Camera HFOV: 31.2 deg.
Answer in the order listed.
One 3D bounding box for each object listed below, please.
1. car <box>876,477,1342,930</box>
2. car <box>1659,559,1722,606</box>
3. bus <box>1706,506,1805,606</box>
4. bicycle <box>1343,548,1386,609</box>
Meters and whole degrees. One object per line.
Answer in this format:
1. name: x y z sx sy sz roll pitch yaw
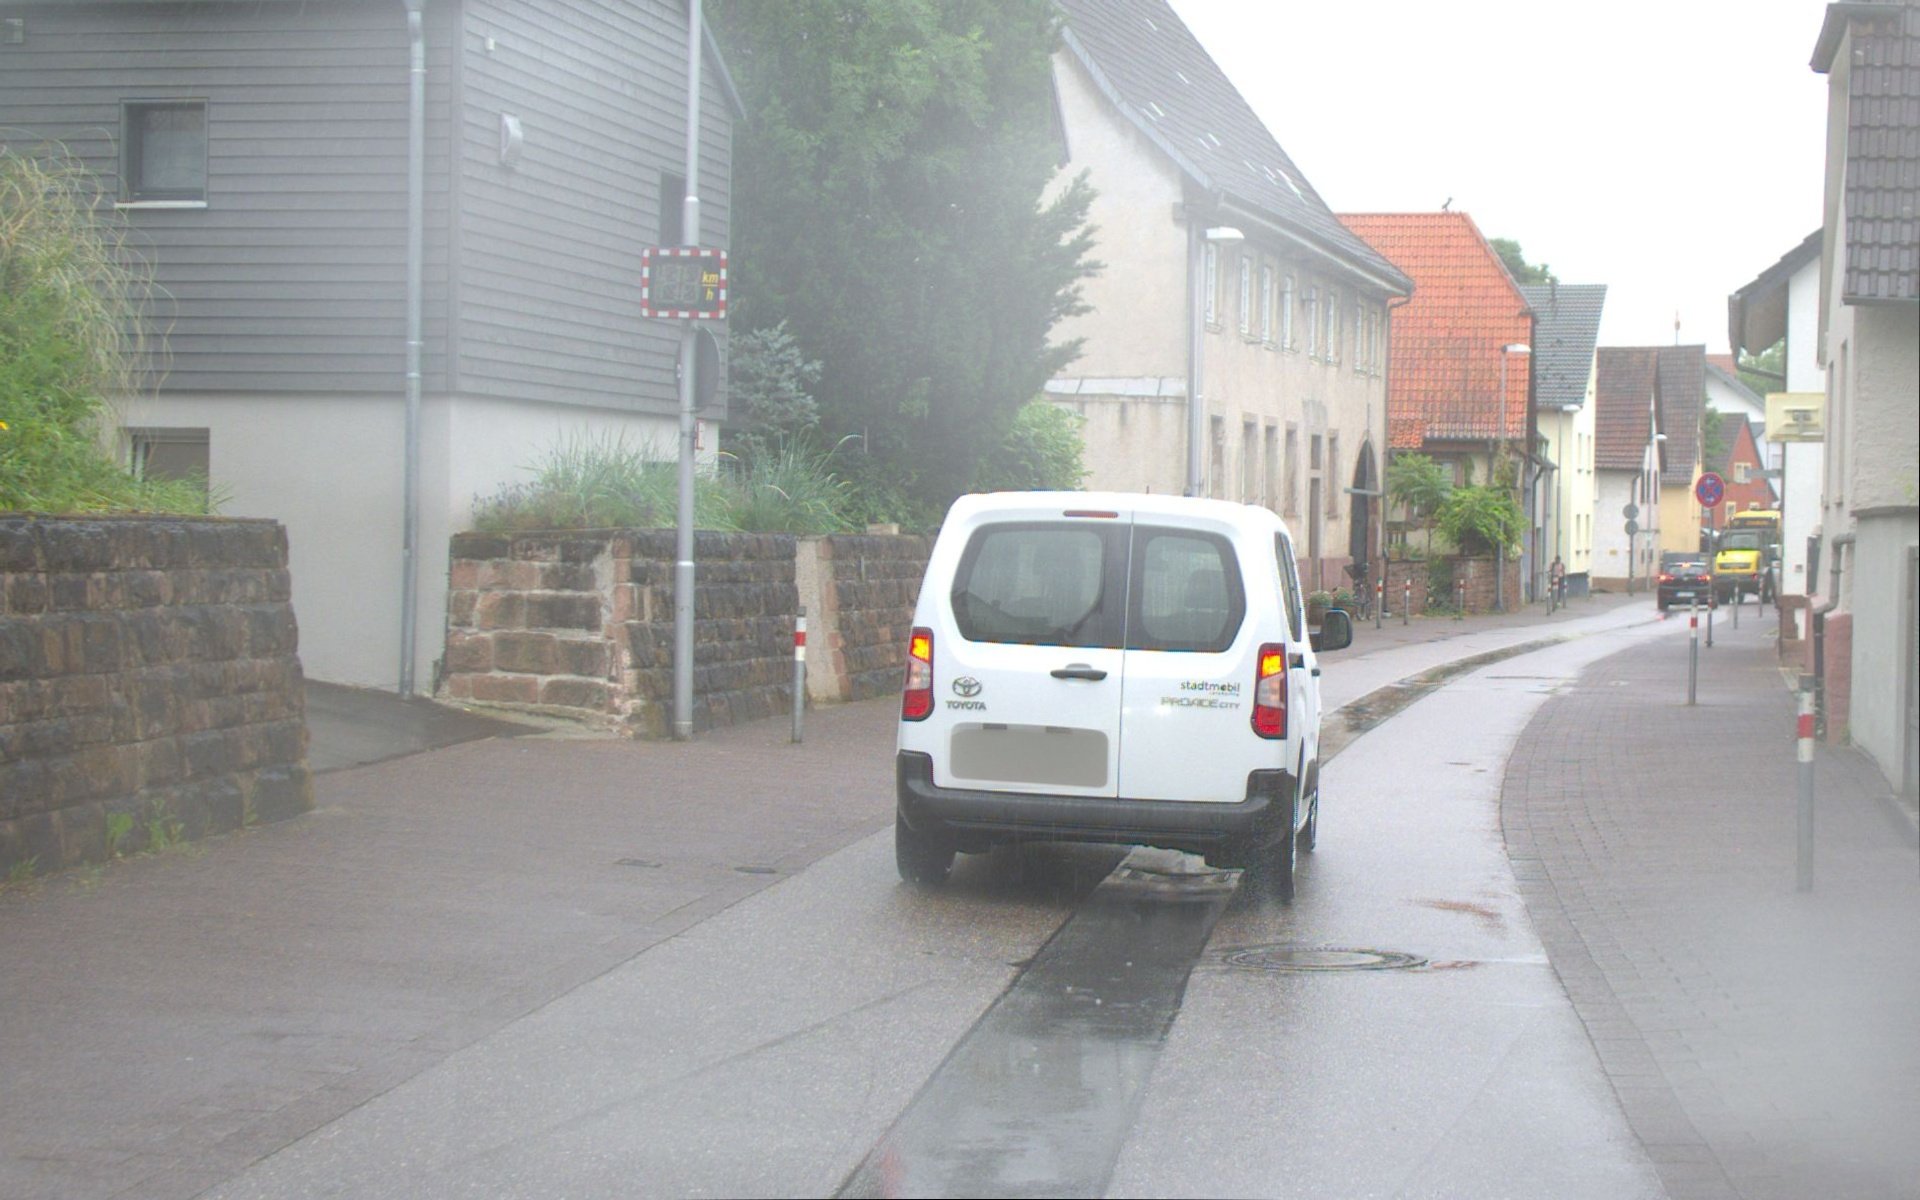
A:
1. car: 0.846 0.422 16.566 1.795 1.812 4.100 3 1 8
2. car: 22.548 -0.533 106.058 1.563 1.367 3.582 3 1 16
3. bus: 27.448 -1.492 118.412 2.795 3.169 8.172 4 1 15
4. bicycle: 8.046 -0.419 68.358 0.483 1.176 1.834 3 1 17
